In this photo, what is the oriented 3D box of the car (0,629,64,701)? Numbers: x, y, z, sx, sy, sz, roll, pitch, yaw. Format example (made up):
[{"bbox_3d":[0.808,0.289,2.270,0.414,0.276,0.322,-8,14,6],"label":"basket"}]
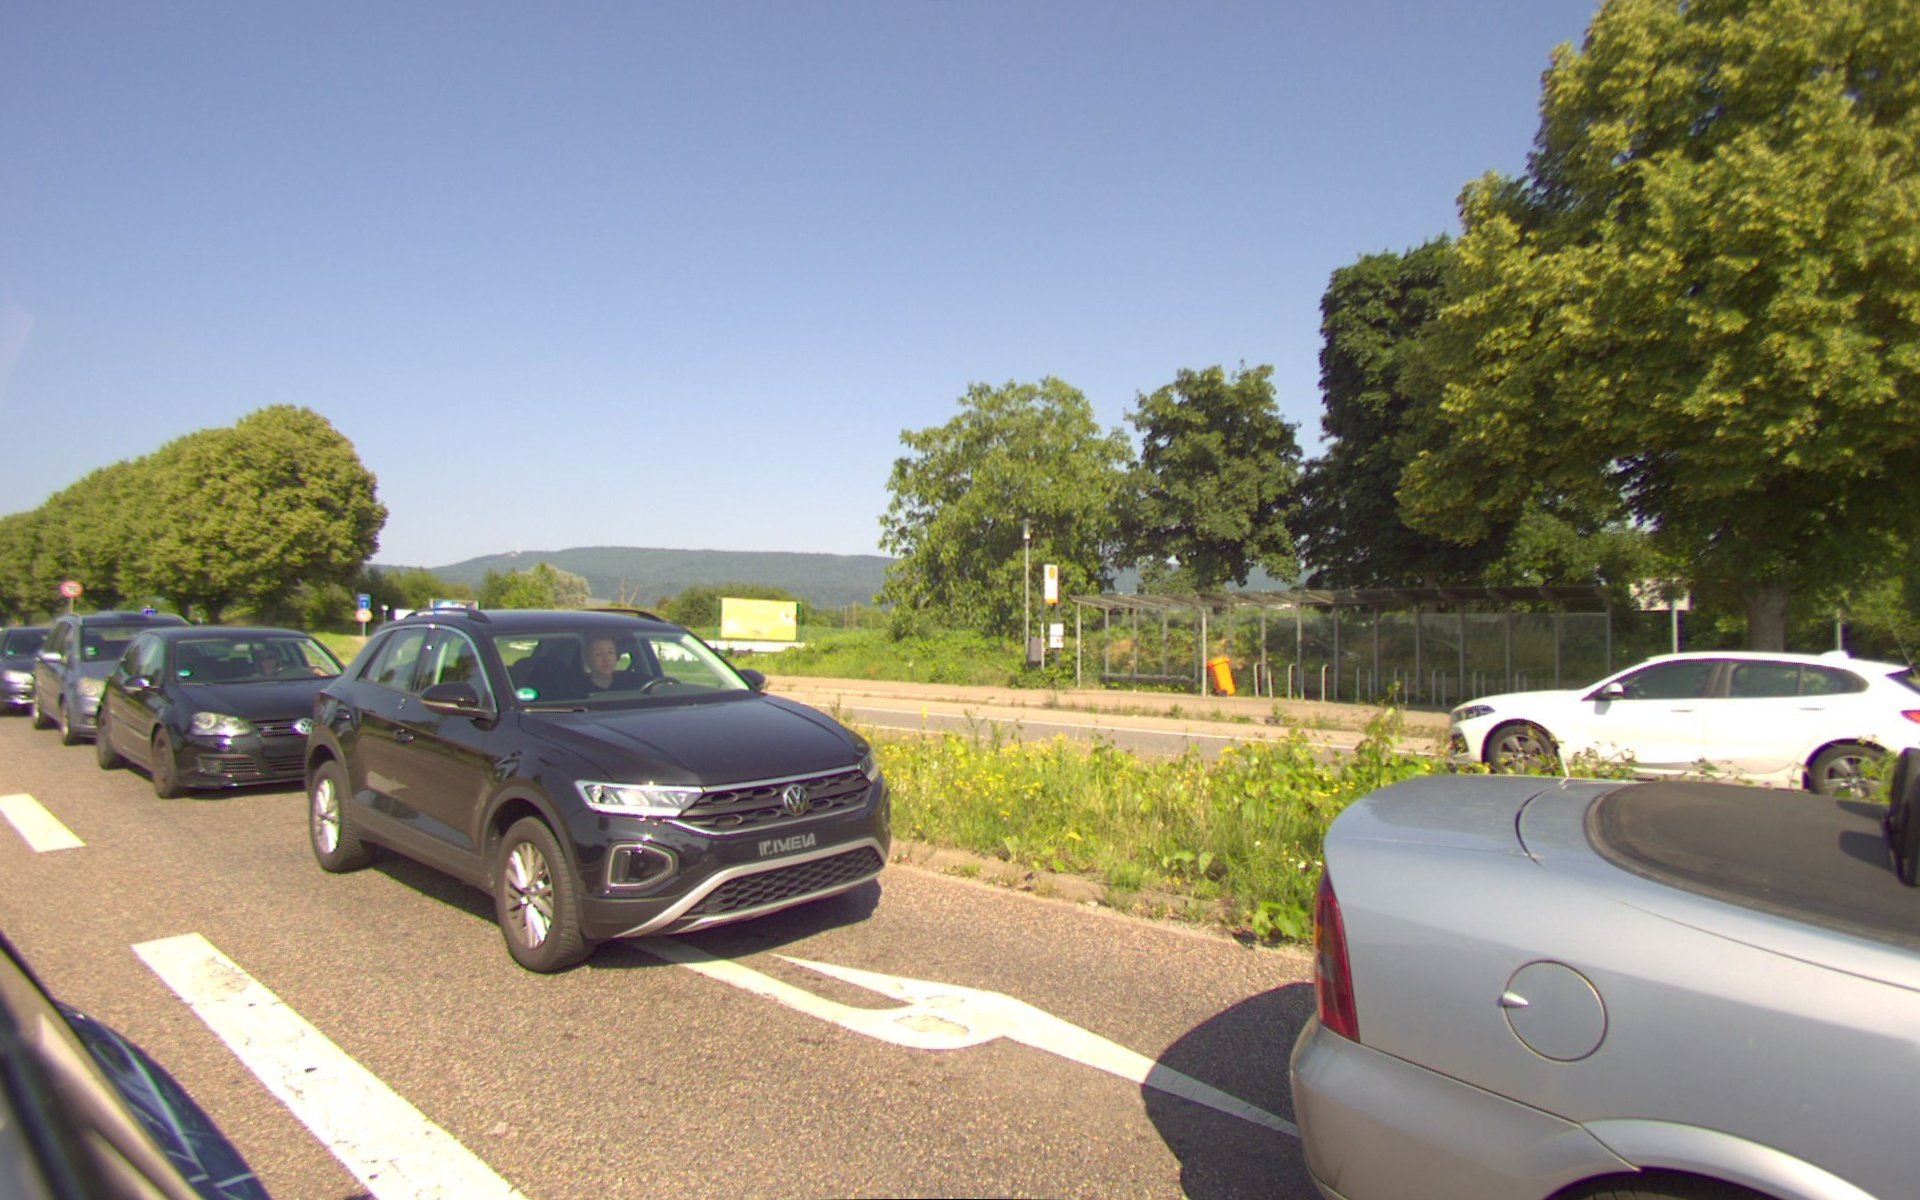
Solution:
[{"bbox_3d":[-21.202,1.368,22.172,4.639,1.436,1.784,-1,-1,41],"label":"car"}]

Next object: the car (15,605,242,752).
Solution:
[{"bbox_3d":[-11.342,0.956,13.696,4.355,1.685,1.723,-2,-2,42],"label":"car"}]

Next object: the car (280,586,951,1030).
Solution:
[{"bbox_3d":[-2.137,0.789,5.586,4.096,1.559,1.710,-2,-2,42],"label":"car"}]

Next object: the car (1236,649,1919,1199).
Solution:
[{"bbox_3d":[2.618,0.765,1.268,4.096,1.345,1.656,-1,-3,42],"label":"car"}]

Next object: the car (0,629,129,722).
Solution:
[{"bbox_3d":[-15.992,1.221,17.616,4.353,1.421,1.696,-1,-2,42],"label":"car"}]

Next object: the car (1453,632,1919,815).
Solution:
[{"bbox_3d":[7.522,1.153,10.373,4.143,1.527,1.864,-1,-5,39],"label":"car"}]

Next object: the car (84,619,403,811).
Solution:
[{"bbox_3d":[-7.089,0.948,9.850,4.096,1.486,1.648,-2,-2,42],"label":"car"}]
